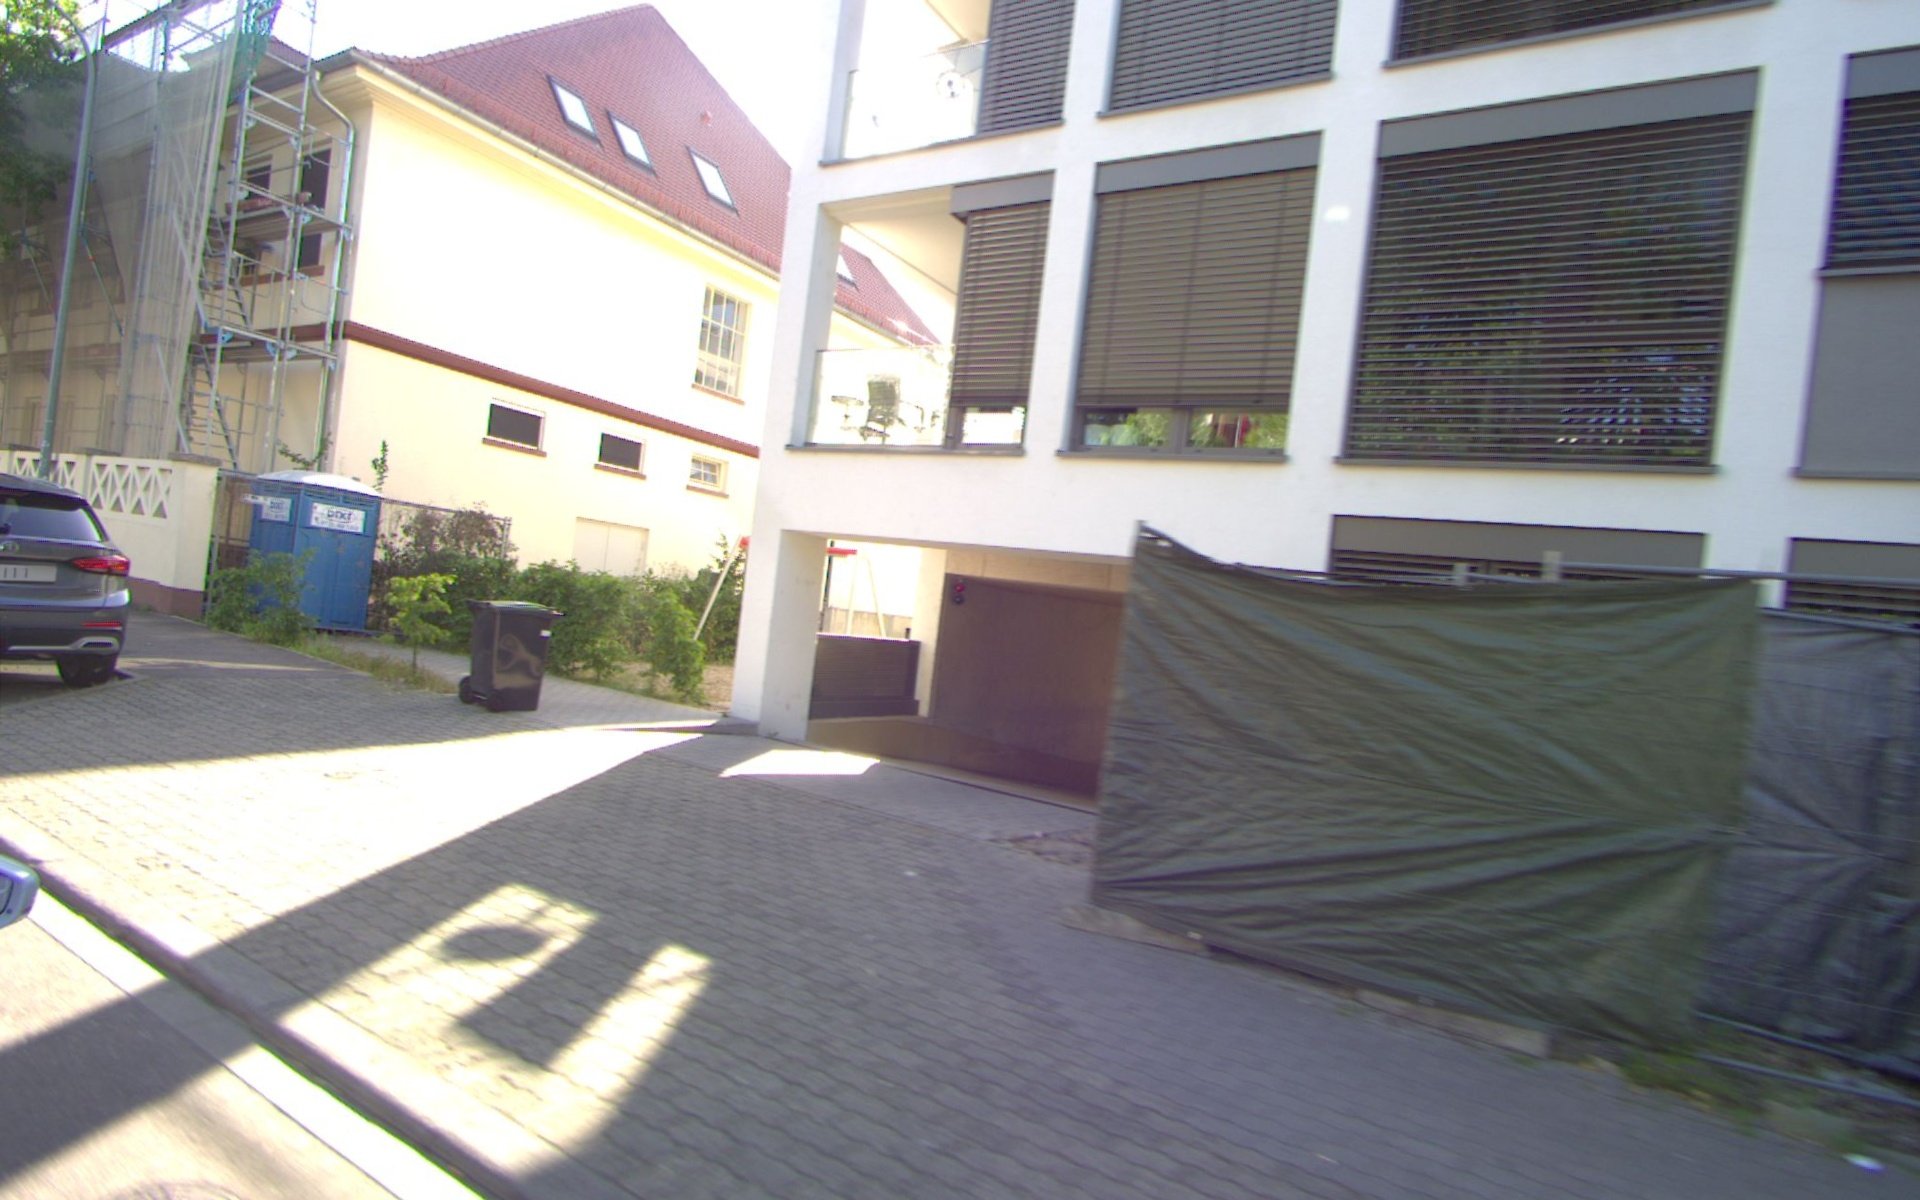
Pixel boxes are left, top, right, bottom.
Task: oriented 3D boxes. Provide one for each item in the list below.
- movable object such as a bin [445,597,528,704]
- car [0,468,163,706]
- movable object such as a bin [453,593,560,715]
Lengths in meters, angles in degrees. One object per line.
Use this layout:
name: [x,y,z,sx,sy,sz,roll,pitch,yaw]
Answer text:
movable object such as a bin: [-4.662,0.499,9.906,0.503,0.974,0.435,6,-2,36]
car: [-8.510,-0.291,8.121,4.230,1.658,1.715,7,-1,30]
movable object such as a bin: [-4.263,0.513,9.473,0.555,1.039,0.598,6,-2,35]
